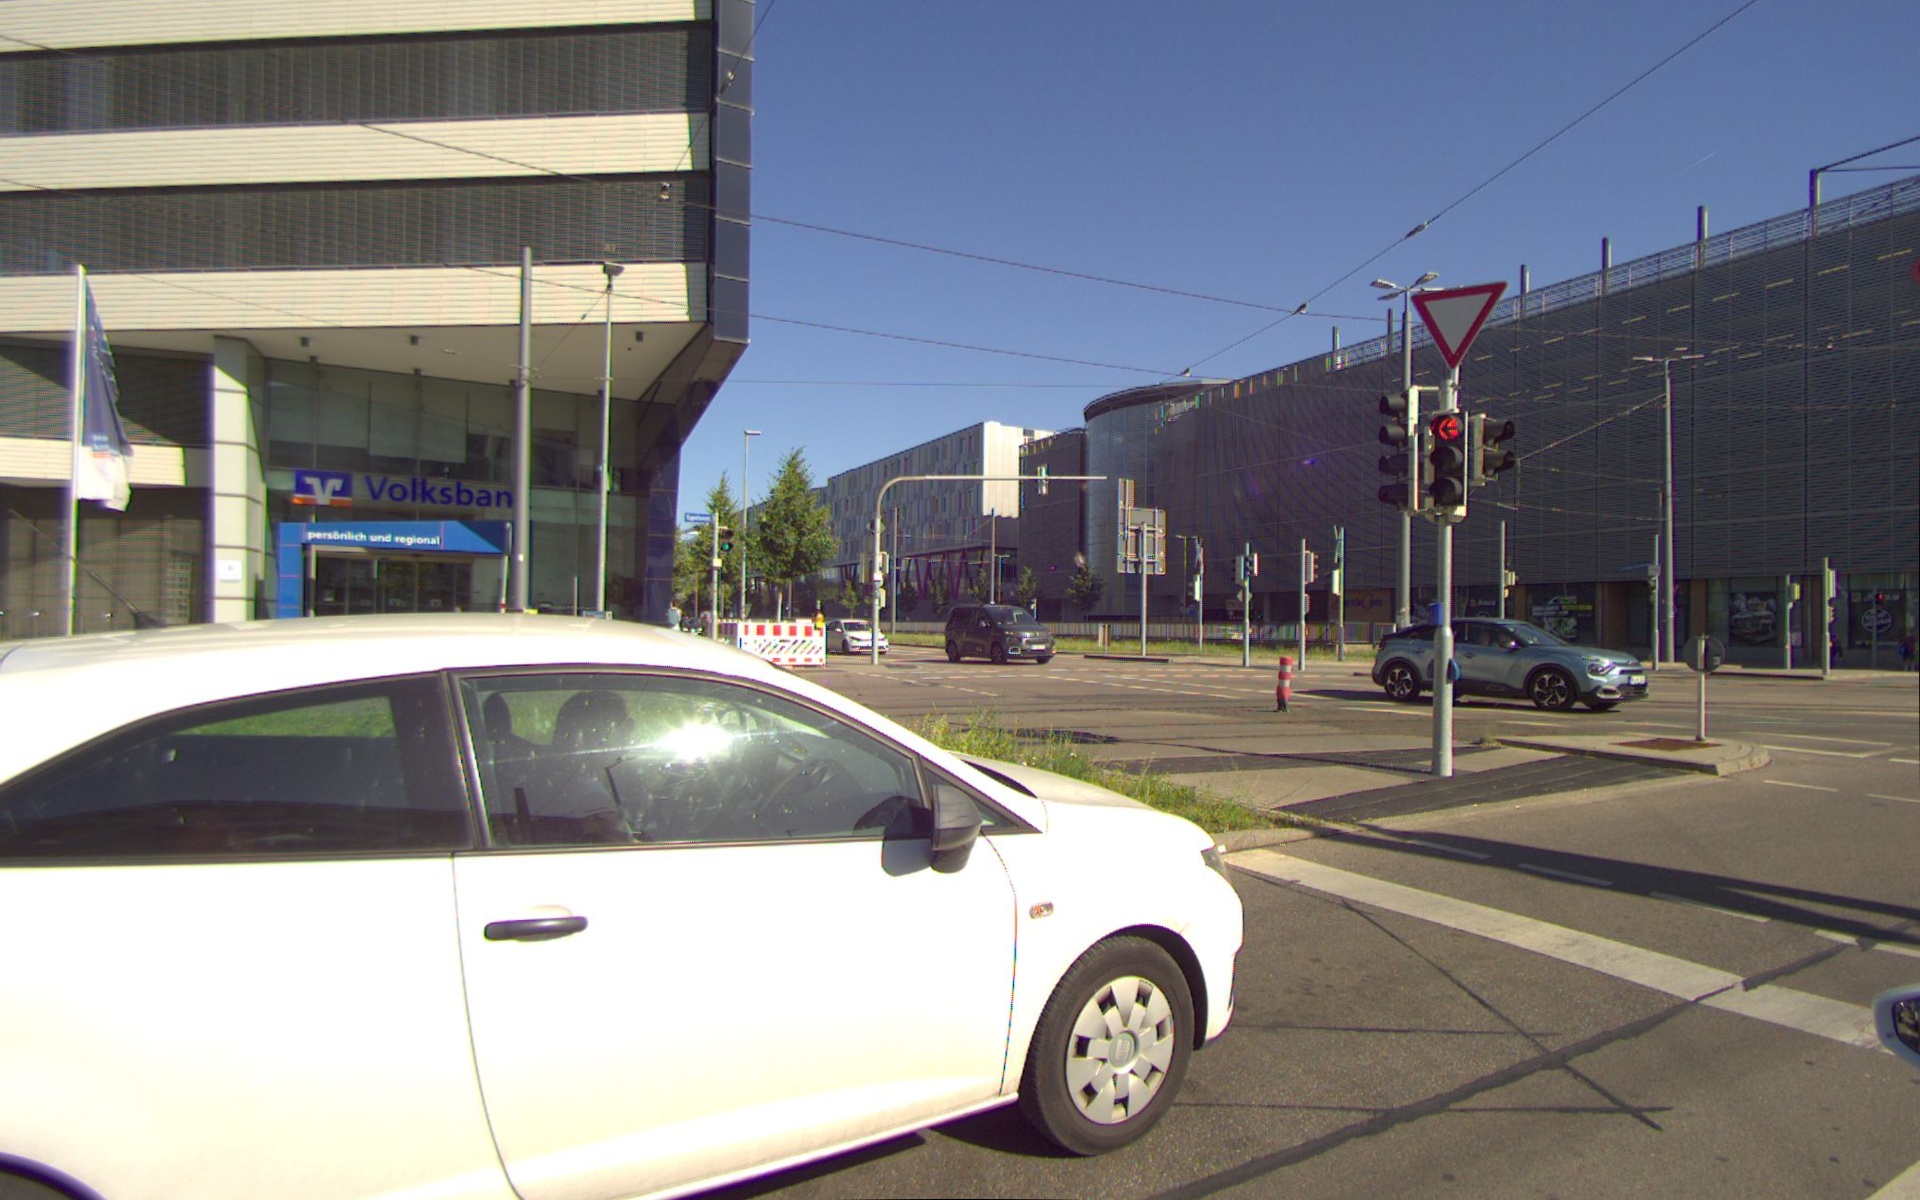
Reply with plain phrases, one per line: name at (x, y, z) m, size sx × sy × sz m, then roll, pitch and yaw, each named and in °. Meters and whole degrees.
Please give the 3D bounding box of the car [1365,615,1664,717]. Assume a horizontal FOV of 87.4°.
car at (9.365, 1.069, 17.322) m, size 1.690 × 1.533 × 4.242 m, roll 1°, pitch -2°, yaw -32°

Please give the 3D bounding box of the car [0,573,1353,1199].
car at (-0.962, 0.738, 2.788) m, size 3.977 × 1.460 × 1.723 m, roll 2°, pitch 1°, yaw -31°

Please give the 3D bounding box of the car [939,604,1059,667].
car at (1.121, 1.046, 30.917) m, size 1.688 × 1.815 × 4.440 m, roll 1°, pitch -1°, yaw -28°

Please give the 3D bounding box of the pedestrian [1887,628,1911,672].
pedestrian at (39.959, 2.119, 42.732) m, size 0.687 × 1.821 × 0.726 m, roll -2°, pitch -3°, yaw 44°

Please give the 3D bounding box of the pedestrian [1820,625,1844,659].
pedestrian at (43.640, 2.103, 50.295) m, size 0.584 × 1.622 × 0.661 m, roll 2°, pitch 0°, yaw -11°

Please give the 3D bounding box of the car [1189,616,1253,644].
car at (18.491, 2.113, 71.352) m, size 1.819 × 1.666 × 4.268 m, roll 2°, pitch 2°, yaw -30°

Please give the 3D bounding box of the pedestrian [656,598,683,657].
pedestrian at (-8.662, 0.820, 29.931) m, size 0.729 × 1.719 × 0.805 m, roll 0°, pitch -2°, yaw -20°

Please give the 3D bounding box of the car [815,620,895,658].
car at (-4.414, 1.582, 41.793) m, size 1.842 × 1.492 × 4.265 m, roll 1°, pitch -1°, yaw -28°
